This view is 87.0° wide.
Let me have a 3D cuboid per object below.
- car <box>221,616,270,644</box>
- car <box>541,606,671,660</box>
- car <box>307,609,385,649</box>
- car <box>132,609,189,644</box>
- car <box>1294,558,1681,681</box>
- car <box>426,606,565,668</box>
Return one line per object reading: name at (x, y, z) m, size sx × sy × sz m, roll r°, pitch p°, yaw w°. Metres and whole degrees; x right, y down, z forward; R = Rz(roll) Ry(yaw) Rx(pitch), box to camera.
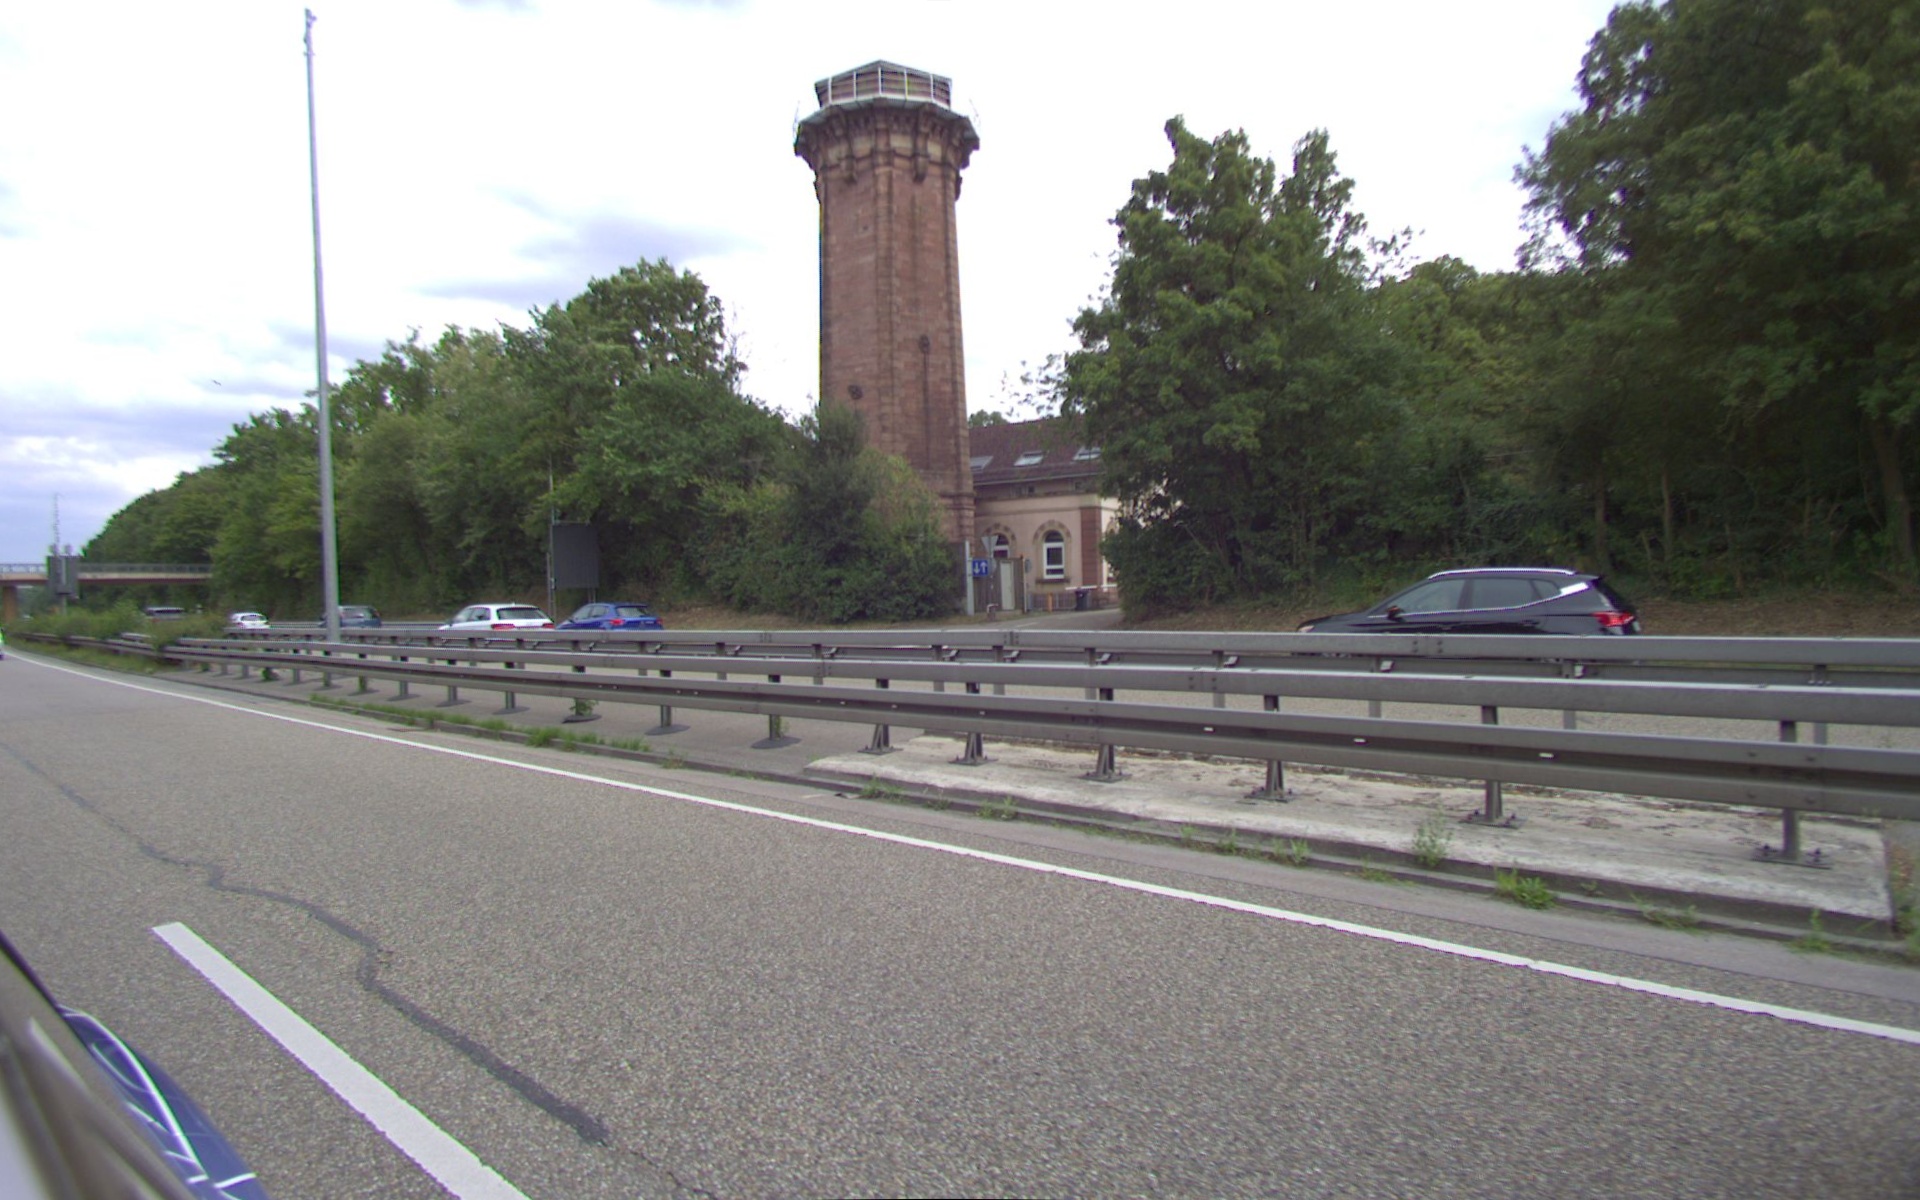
car at (-41.366, 1.718, 58.574) m, size 3.728 × 1.519 × 1.611 m, roll -1°, pitch -1°, yaw 43°
car at (-10.230, 0.922, 29.127) m, size 4.054 × 1.461 × 1.793 m, roll -1°, pitch -1°, yaw 41°
car at (-26.027, 1.224, 42.853) m, size 4.130 × 1.613 × 1.712 m, roll -1°, pitch -1°, yaw 41°
car at (-43.216, 1.419, 54.664) m, size 4.542 × 1.783 × 1.742 m, roll -1°, pitch -1°, yaw 43°
car at (6.619, 0.244, 12.897) m, size 4.064 × 1.309 × 1.958 m, roll -1°, pitch -1°, yaw 40°
car at (-11.847, 0.902, 25.707) m, size 4.054 × 1.438 × 1.694 m, roll -1°, pitch -1°, yaw 41°
